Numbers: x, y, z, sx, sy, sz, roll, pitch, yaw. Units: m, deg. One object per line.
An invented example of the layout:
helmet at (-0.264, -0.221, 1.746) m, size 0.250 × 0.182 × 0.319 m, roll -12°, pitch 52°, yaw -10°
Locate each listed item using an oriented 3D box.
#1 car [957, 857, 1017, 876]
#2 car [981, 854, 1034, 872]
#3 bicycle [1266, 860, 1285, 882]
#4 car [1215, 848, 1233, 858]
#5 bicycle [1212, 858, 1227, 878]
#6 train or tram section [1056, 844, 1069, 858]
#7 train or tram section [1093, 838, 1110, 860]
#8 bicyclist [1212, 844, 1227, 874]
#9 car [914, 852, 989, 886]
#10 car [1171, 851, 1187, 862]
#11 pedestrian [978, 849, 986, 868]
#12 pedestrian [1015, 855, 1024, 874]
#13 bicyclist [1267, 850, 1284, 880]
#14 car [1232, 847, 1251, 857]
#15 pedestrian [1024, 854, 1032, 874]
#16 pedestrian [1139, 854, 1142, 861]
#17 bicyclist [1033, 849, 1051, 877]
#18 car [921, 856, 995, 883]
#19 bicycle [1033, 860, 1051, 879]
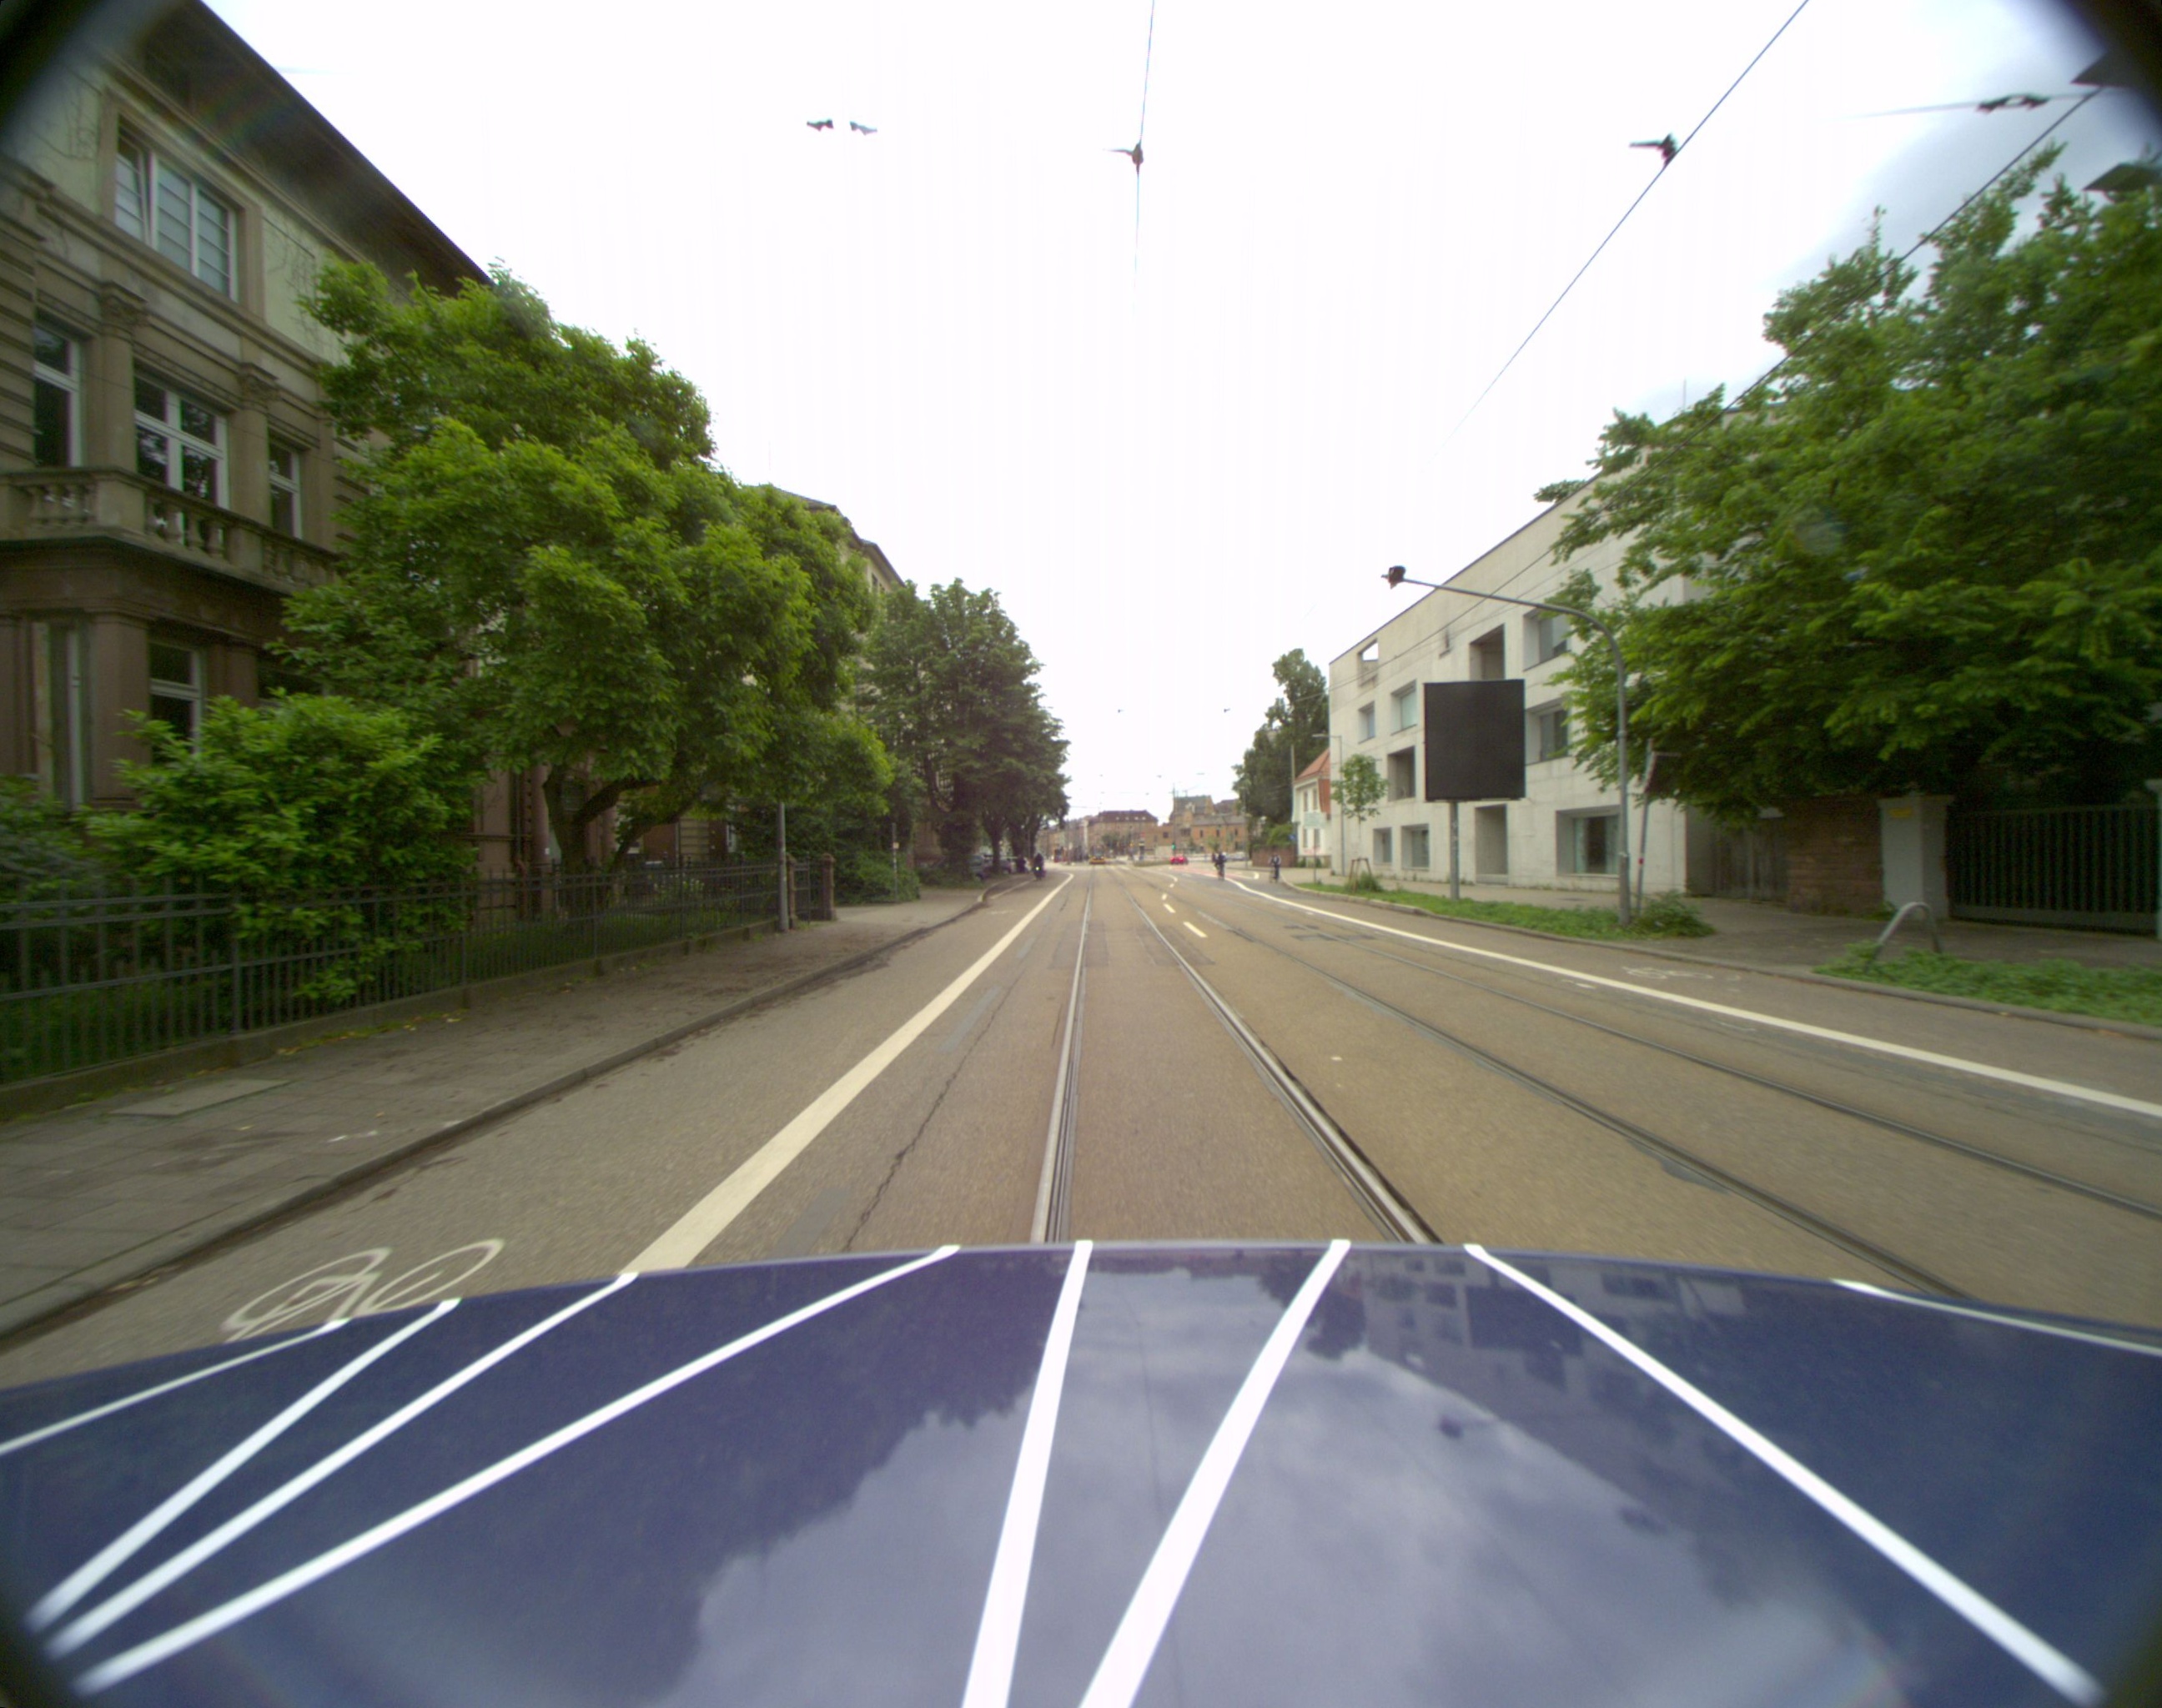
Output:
car at (-7.410, 0.987, 60.125) m, size 4.338 × 1.394 × 1.750 m, roll -1°, pitch 0°, yaw -32°
car at (-6.592, 0.784, 68.115) m, size 4.330 × 1.542 × 1.747 m, roll -1°, pitch 0°, yaw -21°
bicycle at (11.358, 0.987, 44.335) m, size 0.774 × 1.205 × 1.872 m, roll -1°, pitch 0°, yaw 22°
car at (22.934, -0.114, 121.814) m, size 1.491 × 1.500 × 3.476 m, roll -1°, pitch 1°, yaw 34°
bicycle at (8.409, 0.824, 46.280) m, size 0.793 × 1.179 × 2.012 m, roll 2°, pitch 1°, yaw 9°
train or tram section at (-3.839, -0.610, 159.974) m, size 2.609 × 2.936 × 4.965 m, roll -1°, pitch 1°, yaw -1°
train or tram section at (3.487, -0.834, 129.356) m, size 2.631 × 3.660 × 5.984 m, roll -1°, pitch 1°, yaw -1°
bicyclist at (8.424, 0.299, 46.297) m, size 0.793 × 1.773 × 1.148 m, roll 2°, pitch 1°, yaw 9°
car at (-7.369, 0.818, 43.307) m, size 3.846 × 1.810 × 1.803 m, roll -1°, pitch 0°, yaw -30°
car at (13.993, 0.372, 107.840) m, size 1.758 × 1.490 × 4.004 m, roll 0°, pitch 1°, yaw 15°
pedestrian at (-9.509, 0.439, 73.213) m, size 0.680 × 1.828 × 0.751 m, roll 1°, pitch 1°, yaw 1°
pedestrian at (-5.388, 0.908, 66.642) m, size 0.645 × 1.616 × 0.591 m, roll -2°, pitch 1°, yaw -22°
bicyclist at (11.349, 0.641, 44.316) m, size 0.774 × 1.681 × 0.870 m, roll -1°, pitch 1°, yaw 22°
car at (27.092, -0.317, 128.023) m, size 1.682 × 1.641 × 3.988 m, roll -1°, pitch 1°, yaw 35°
pedestrian at (-4.647, 0.852, 66.516) m, size 0.614 × 1.740 × 0.685 m, roll -2°, pitch 1°, yaw -13°
pedestrian at (9.773, 0.605, 124.763) m, size 0.544 × 1.050 × 0.638 m, roll -1°, pitch 1°, yaw 9°
bicyclist at (-2.592, 0.595, 50.553) m, size 0.881 × 1.811 × 1.479 m, roll -2°, pitch -1°, yaw 6°
car at (-7.487, 0.918, 46.332) m, size 4.007 × 1.530 × 1.860 m, roll -1°, pitch 0°, yaw -34°
bicycle at (-2.587, 1.035, 50.411) m, size 0.852 × 1.234 × 2.311 m, roll -2°, pitch -1°, yaw 6°
